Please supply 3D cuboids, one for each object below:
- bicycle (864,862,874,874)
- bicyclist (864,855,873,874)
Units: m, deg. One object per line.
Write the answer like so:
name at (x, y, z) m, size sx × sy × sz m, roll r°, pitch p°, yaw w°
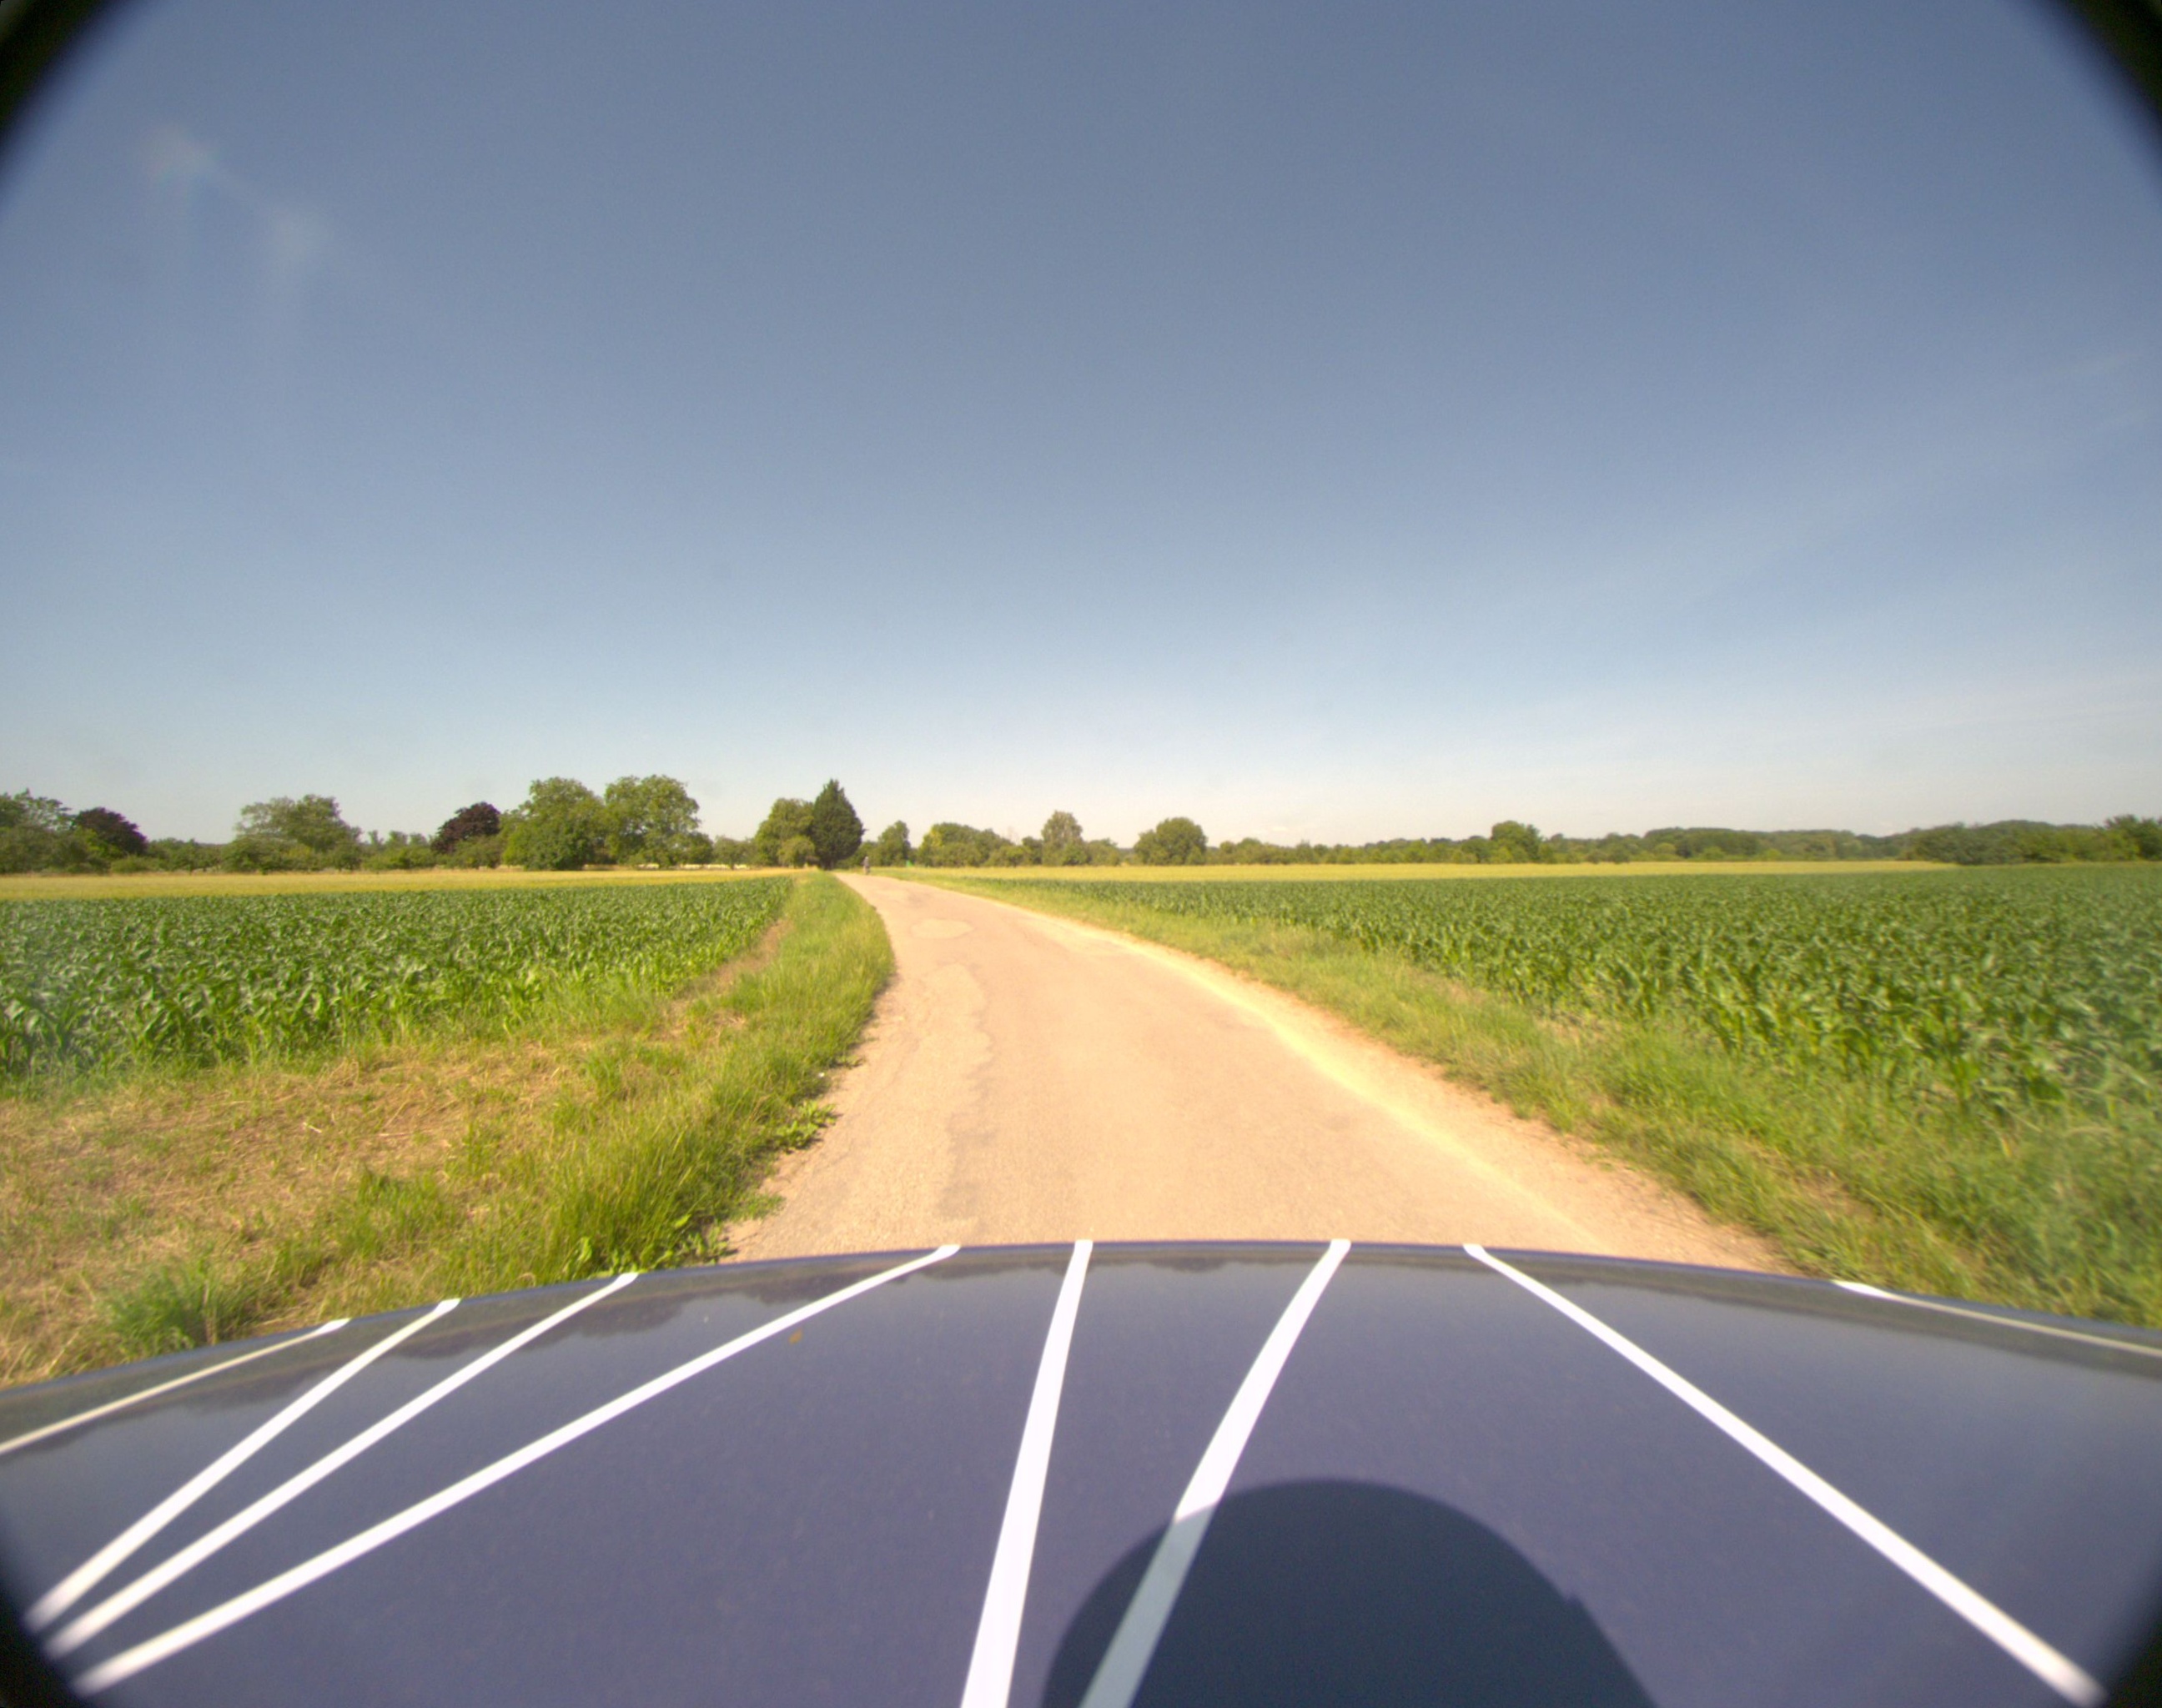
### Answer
bicycle at (-20.647, 1.347, 73.971) m, size 0.753 × 1.121 × 1.906 m, roll 2°, pitch 0°, yaw -11°
bicyclist at (-20.642, 1.013, 73.966) m, size 0.753 × 1.781 × 0.716 m, roll 2°, pitch 0°, yaw -11°
